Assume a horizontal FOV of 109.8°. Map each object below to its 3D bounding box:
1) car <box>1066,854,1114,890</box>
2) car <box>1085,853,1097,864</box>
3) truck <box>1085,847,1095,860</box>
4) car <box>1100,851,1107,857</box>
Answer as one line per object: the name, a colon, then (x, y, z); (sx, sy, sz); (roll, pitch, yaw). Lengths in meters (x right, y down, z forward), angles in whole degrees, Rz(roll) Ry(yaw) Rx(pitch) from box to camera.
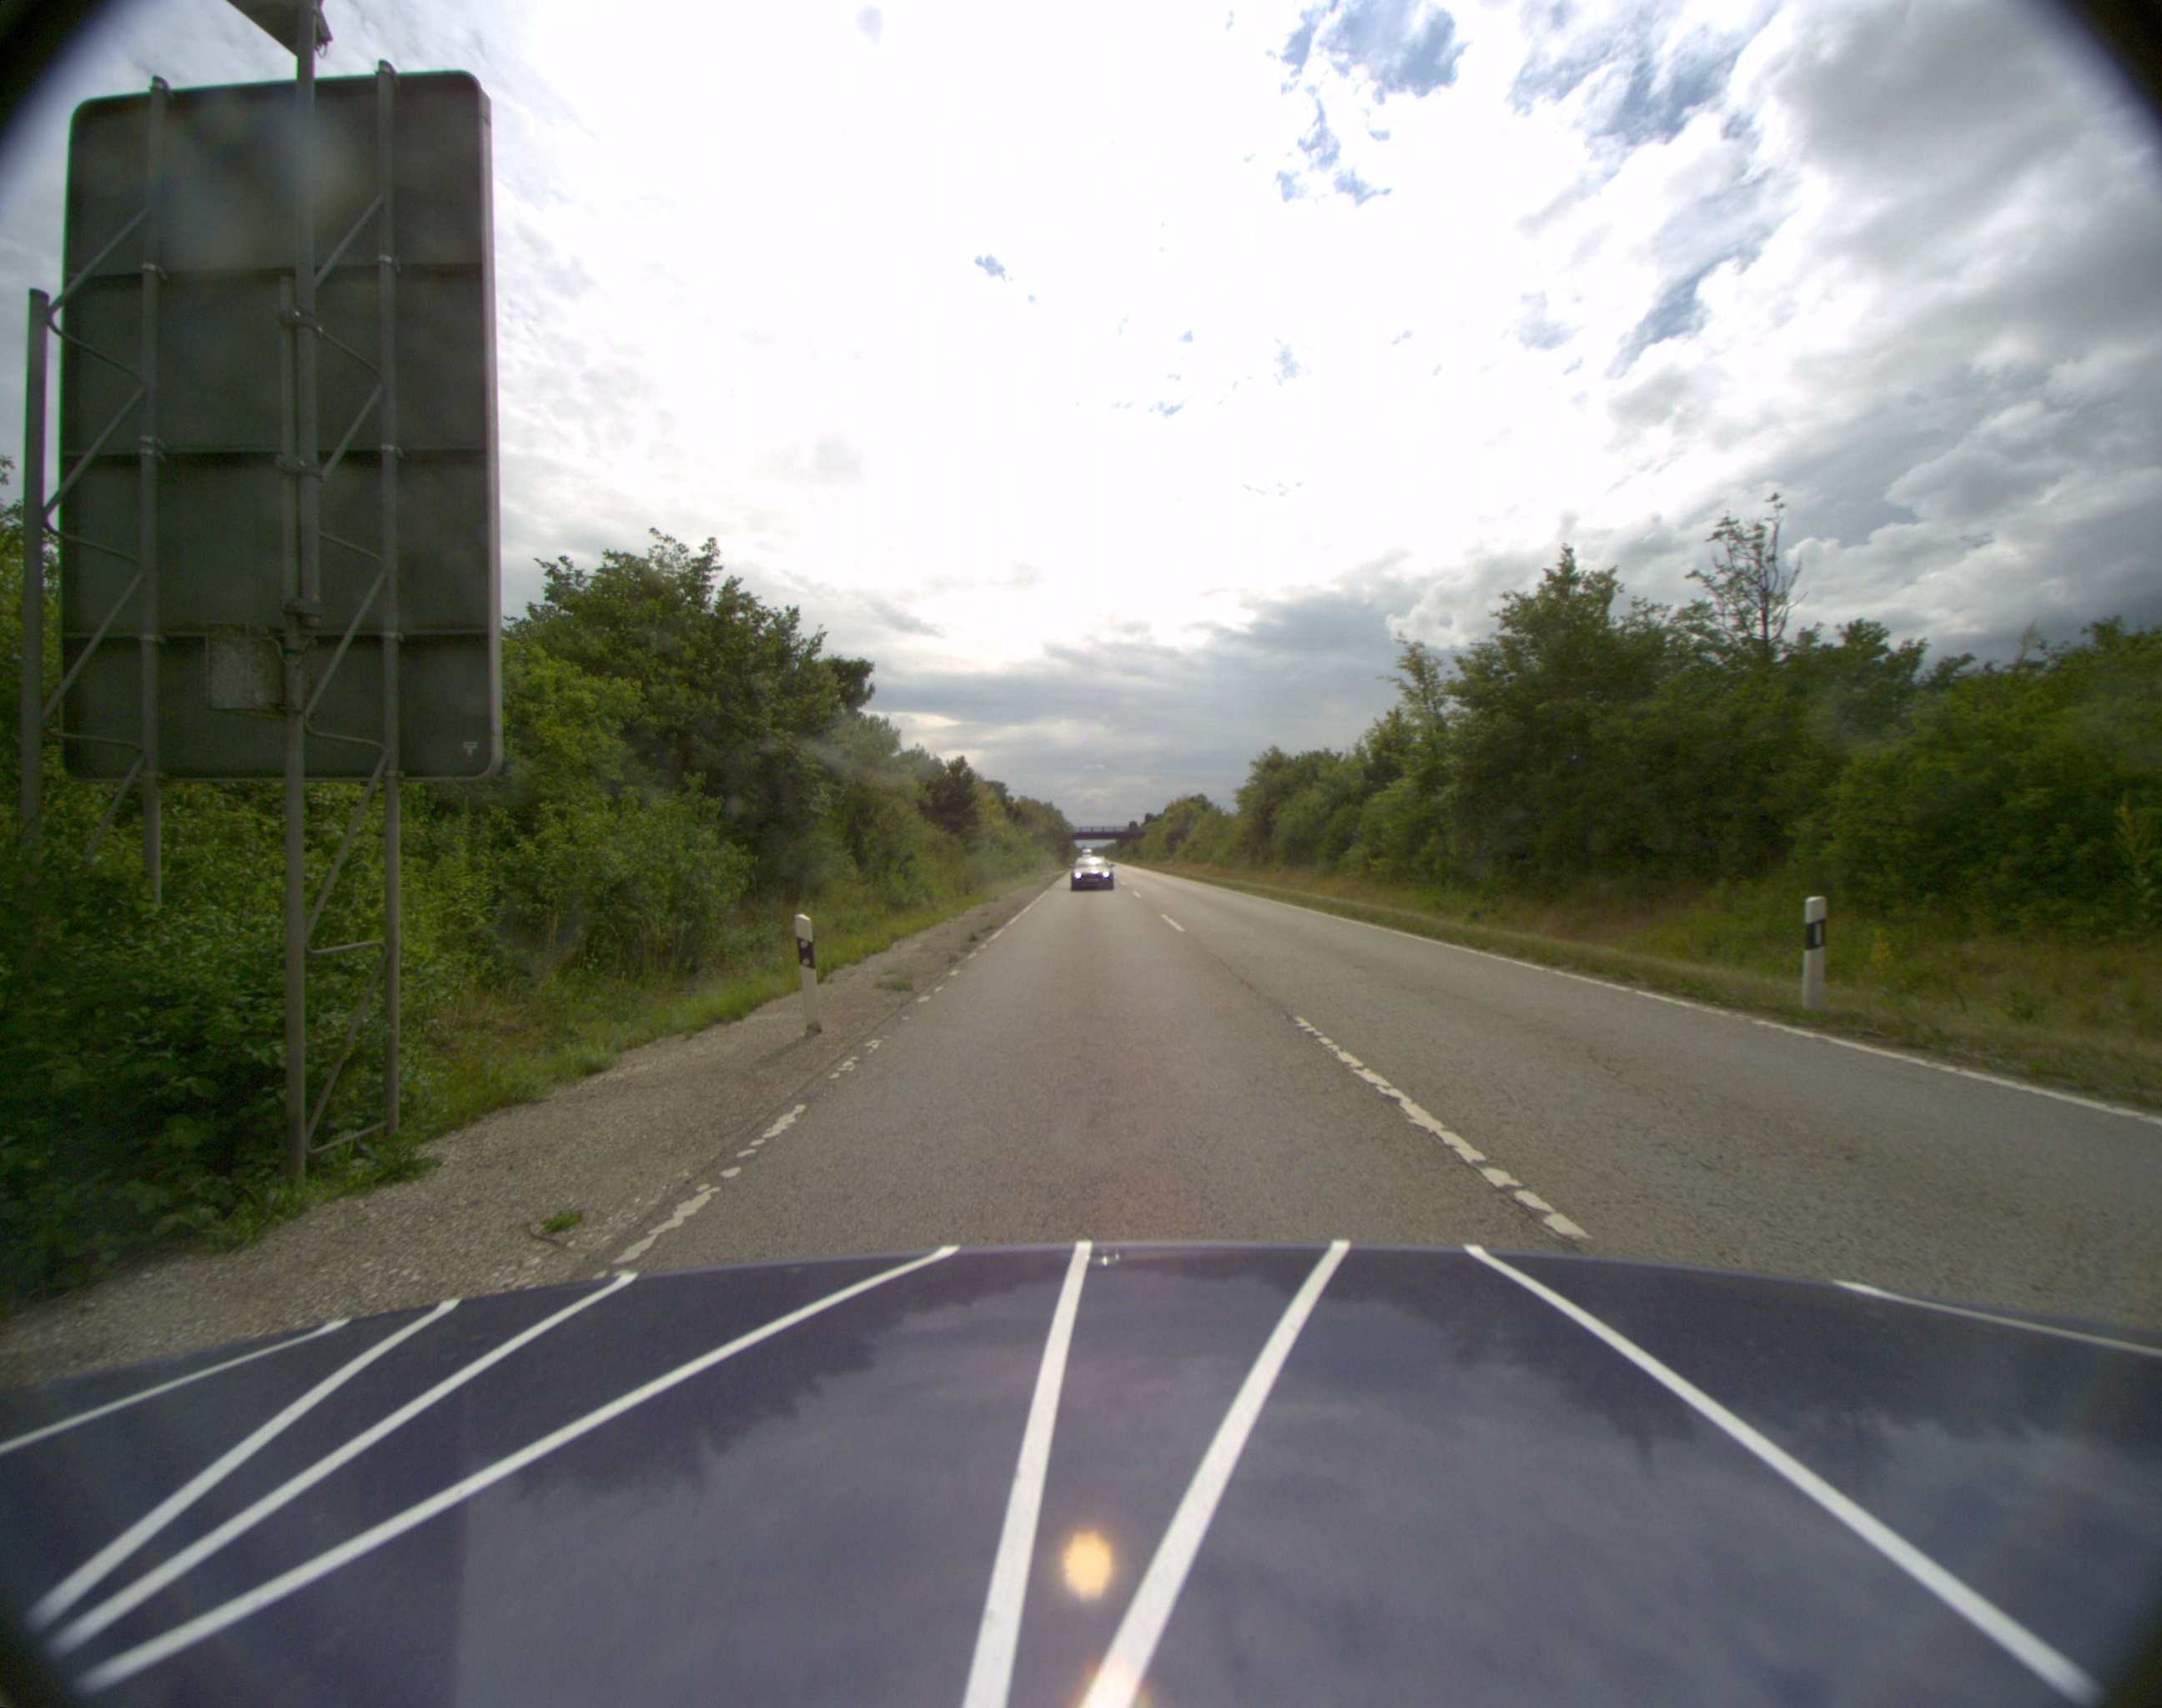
car: (0.420, 0.772, 34.707); (1.998, 1.436, 4.640); (-2, 0, 0)
car: (1.527, 0.633, 116.524); (1.870, 1.597, 4.000); (-1, 0, 0)
truck: (1.795, -0.129, 147.708); (1.802, 2.518, 6.685); (-2, 1, 1)
car: (5.819, 0.000, 198.307); (1.833, 1.456, 4.411); (-1, 0, 1)
